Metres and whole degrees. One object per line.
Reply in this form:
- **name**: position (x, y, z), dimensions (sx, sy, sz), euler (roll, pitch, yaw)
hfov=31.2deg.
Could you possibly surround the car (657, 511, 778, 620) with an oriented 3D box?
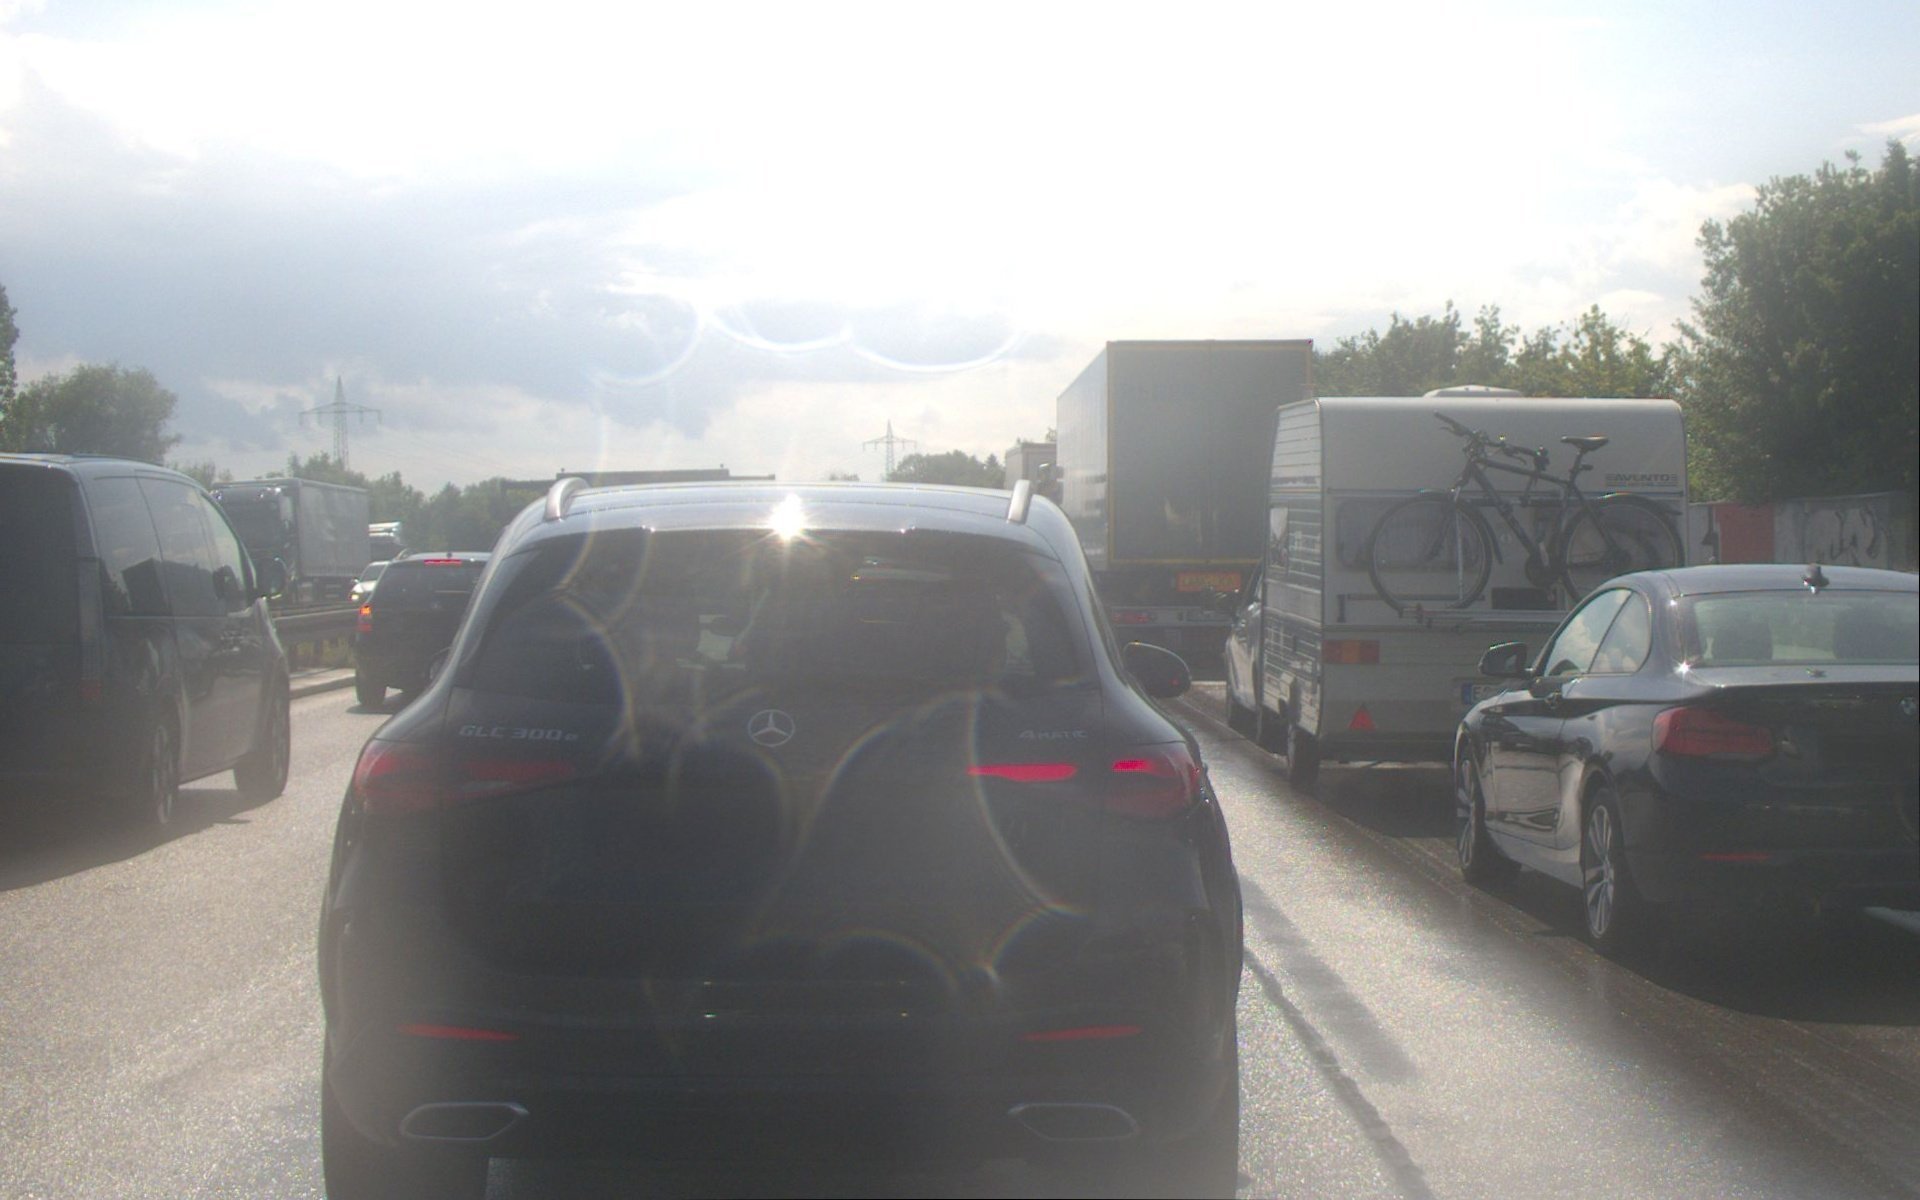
- **car**: position (-4.829, -0.698, 68.932), dimensions (1.993, 2.007, 4.000), euler (4, 1, 0)

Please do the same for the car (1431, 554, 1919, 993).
- **car**: position (3.139, 0.555, 13.699), dimensions (1.848, 1.459, 4.256), euler (-1, 1, -1)

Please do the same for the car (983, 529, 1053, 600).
- **car**: position (1.756, -1.103, 105.849), dimensions (1.993, 2.007, 4.000), euler (4, 1, 0)

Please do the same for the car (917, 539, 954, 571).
- **car**: position (-1.399, -2.547, 194.143), dimensions (1.876, 1.754, 4.001), euler (1, 1, -3)

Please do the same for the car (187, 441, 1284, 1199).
- **car**: position (-0.423, 0.511, 8.459), dimensions (1.993, 1.656, 4.406), euler (0, 1, 0)

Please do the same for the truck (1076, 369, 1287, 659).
- **truck**: position (3.270, -1.275, 52.107), dimensions (2.995, 4.152, 5.240), euler (0, 1, 2)

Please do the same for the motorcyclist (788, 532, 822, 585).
- **motorcyclist**: position (-5.121, -1.371, 113.628), dimensions (1.064, 1.712, 0.785), euler (0, 1, 0)

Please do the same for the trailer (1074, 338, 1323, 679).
- **trailer**: position (3.067, -1.183, 46.421), dimensions (3.007, 4.152, 8.536), euler (0, 1, 2)

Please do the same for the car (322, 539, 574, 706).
- **car**: position (-4.878, 0.169, 33.267), dimensions (1.757, 1.511, 4.209), euler (0, 1, 1)

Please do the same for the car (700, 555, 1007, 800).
- **car**: position (-0.590, 0.422, 21.731), dimensions (1.757, 1.382, 3.945), euler (0, 1, 1)

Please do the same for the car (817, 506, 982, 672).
- **car**: position (-0.730, -0.167, 44.191), dimensions (1.993, 2.007, 4.000), euler (1, 1, 0)

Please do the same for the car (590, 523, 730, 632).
- **car**: position (-5.115, -0.402, 59.103), dimensions (1.993, 1.766, 4.000), euler (-1, 1, 1)

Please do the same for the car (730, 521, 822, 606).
- **car**: position (-4.520, -0.913, 85.056), dimensions (1.993, 2.007, 4.000), euler (1, 1, 0)

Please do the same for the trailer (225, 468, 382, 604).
- **trailer**: position (-20.911, -2.020, 110.110), dimensions (3.004, 4.089, 10.477), euler (-2, 1, -1)

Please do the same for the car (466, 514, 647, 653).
- **car**: position (-5.231, -0.233, 45.050), dimensions (1.993, 1.714, 4.000), euler (1, 1, -2)

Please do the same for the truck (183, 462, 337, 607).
- **truck**: position (-20.853, -1.941, 102.900), dimensions (3.004, 4.089, 7.687), euler (-2, 1, -1)

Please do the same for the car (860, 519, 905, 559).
- **car**: position (-3.467, -2.702, 152.771), dimensions (1.876, 1.754, 4.001), euler (1, 1, -3)

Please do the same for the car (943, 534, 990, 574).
- **car**: position (0.268, -2.036, 152.692), dimensions (1.876, 1.754, 4.001), euler (1, 1, -3)

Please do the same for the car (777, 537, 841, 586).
- **car**: position (-5.361, -1.395, 122.745), dimensions (1.993, 1.610, 4.000), euler (4, 1, 0)

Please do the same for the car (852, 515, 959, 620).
- **car**: position (-1.068, -0.671, 69.454), dimensions (1.993, 2.007, 4.000), euler (-2, 1, 1)

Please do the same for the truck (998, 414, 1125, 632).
- **truck**: position (2.294, -1.760, 80.069), dimensions (2.502, 4.813, 7.544), euler (1, 1, -1)

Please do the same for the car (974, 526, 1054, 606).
- **car**: position (1.389, -0.904, 90.008), dimensions (1.993, 2.007, 4.000), euler (2, 1, 0)

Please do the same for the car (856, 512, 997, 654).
- **car**: position (-0.487, -0.286, 53.516), dimensions (1.993, 2.007, 4.000), euler (4, 1, 0)

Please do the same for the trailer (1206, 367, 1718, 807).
- **trailer**: position (3.087, -0.117, 22.811), dimensions (2.374, 2.475, 6.523), euler (1, 1, 0)

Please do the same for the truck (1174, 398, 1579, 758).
- **truck**: position (3.062, -0.189, 26.672), dimensions (2.374, 2.468, 5.756), euler (1, 1, 0)

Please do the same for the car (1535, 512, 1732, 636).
- **car**: position (9.243, -0.384, 47.481), dimensions (1.820, 1.615, 4.364), euler (1, 1, 0)

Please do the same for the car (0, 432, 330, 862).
- **car**: position (-4.888, 0.174, 18.655), dimensions (1.993, 2.007, 5.270), euler (0, 1, 0)

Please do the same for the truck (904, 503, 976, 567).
- **truck**: position (-1.338, -4.178, 222.374), dimensions (3.842, 4.003, 11.223), euler (1, 1, -4)
